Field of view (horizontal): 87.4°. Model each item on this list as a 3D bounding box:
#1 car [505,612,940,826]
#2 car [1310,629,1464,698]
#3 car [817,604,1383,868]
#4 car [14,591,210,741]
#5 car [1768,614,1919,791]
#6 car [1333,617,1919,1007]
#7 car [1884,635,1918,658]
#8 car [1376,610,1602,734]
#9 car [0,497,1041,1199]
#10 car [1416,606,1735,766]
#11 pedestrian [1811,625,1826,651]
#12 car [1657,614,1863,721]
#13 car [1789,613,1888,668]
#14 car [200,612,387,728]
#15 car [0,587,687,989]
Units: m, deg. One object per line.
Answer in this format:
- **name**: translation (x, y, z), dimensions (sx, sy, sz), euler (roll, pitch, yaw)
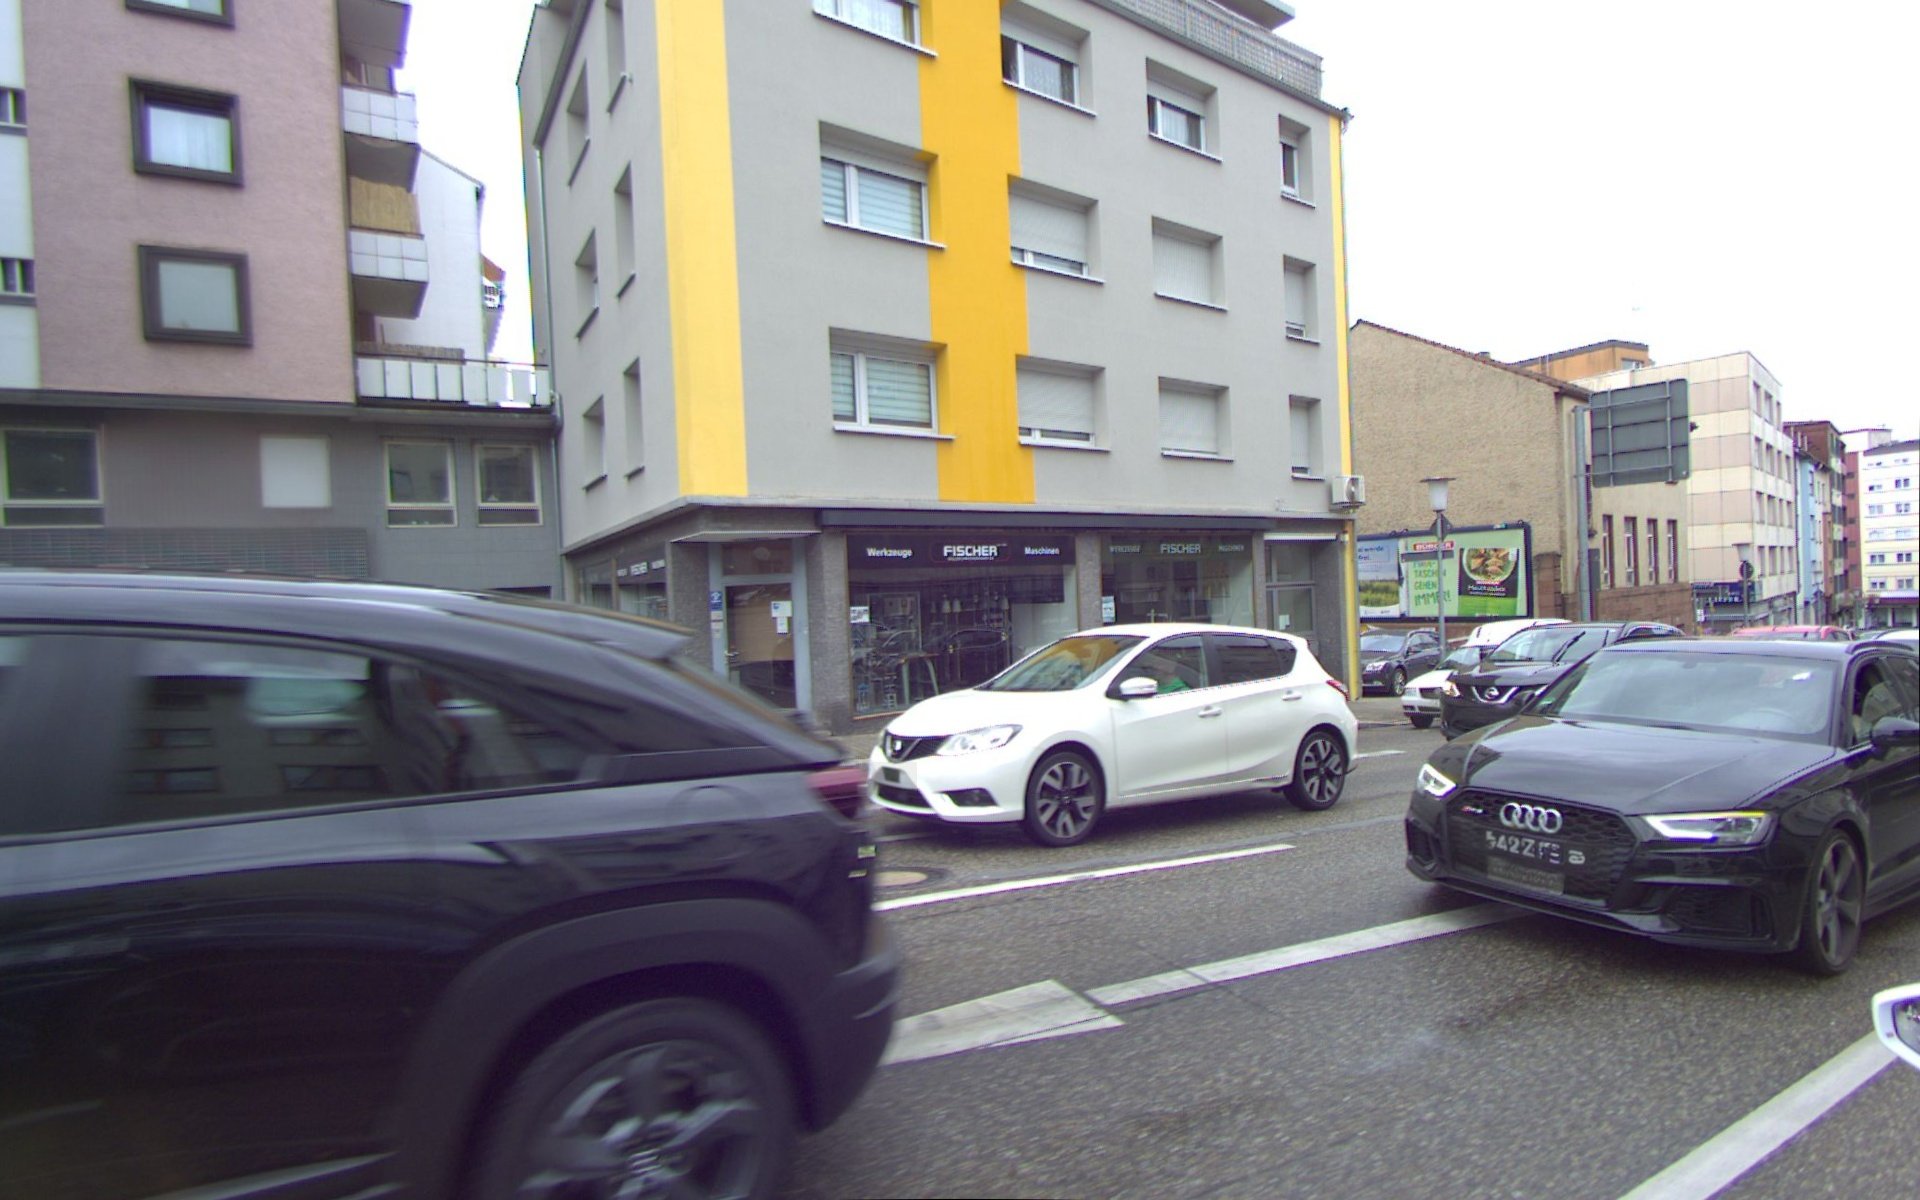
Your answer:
- **car**: translation (-2.220, 0.968, 9.739), dimensions (3.740, 1.617, 1.723), euler (-1, 0, -36)
- **car**: translation (10.356, 1.450, 24.175), dimensions (4.631, 1.474, 1.675), euler (1, -1, -43)
- **car**: translation (1.216, 0.857, 8.062), dimensions (4.327, 1.563, 1.798), euler (-1, -1, -31)
- **car**: translation (-12.129, 0.882, 14.279), dimensions (1.848, 1.817, 3.949), euler (3, -3, -44)
- **car**: translation (10.088, 0.954, 10.249), dimensions (4.518, 1.541, 1.794), euler (2, -2, -37)
- **car**: translation (4.242, 0.849, 5.643), dimensions (4.330, 1.433, 1.797), euler (2, -2, -32)
- **car**: translation (68.688, 3.416, 73.303), dimensions (1.697, 1.607, 4.119), euler (-4, -5, 44)
- **car**: translation (8.978, 1.172, 16.961), dimensions (4.020, 1.853, 1.716), euler (2, -4, -35)
- **car**: translation (-2.118, 0.633, 2.135), dimensions (4.328, 1.557, 1.810), euler (2, -2, -31)
- **car**: translation (7.684, 1.000, 12.423), dimensions (4.300, 1.652, 1.795), euler (2, -4, -36)
- **pedestrian**: translation (57.531, 2.516, 67.331), dimensions (0.731, 1.675, 0.602), euler (-1, 3, 43)
- **car**: translation (13.179, 1.064, 16.471), dimensions (4.094, 1.535, 1.727), euler (2, -4, -38)
- **car**: translation (27.884, 1.289, 31.841), dimensions (3.894, 1.631, 1.643), euler (2, -4, -38)
- **car**: translation (-10.361, 0.987, 15.497), dimensions (1.847, 1.516, 3.951), euler (3, -2, -42)
- **car**: translation (-3.704, 0.726, 4.773), dimensions (4.327, 1.497, 1.810), euler (-1, -1, -31)
